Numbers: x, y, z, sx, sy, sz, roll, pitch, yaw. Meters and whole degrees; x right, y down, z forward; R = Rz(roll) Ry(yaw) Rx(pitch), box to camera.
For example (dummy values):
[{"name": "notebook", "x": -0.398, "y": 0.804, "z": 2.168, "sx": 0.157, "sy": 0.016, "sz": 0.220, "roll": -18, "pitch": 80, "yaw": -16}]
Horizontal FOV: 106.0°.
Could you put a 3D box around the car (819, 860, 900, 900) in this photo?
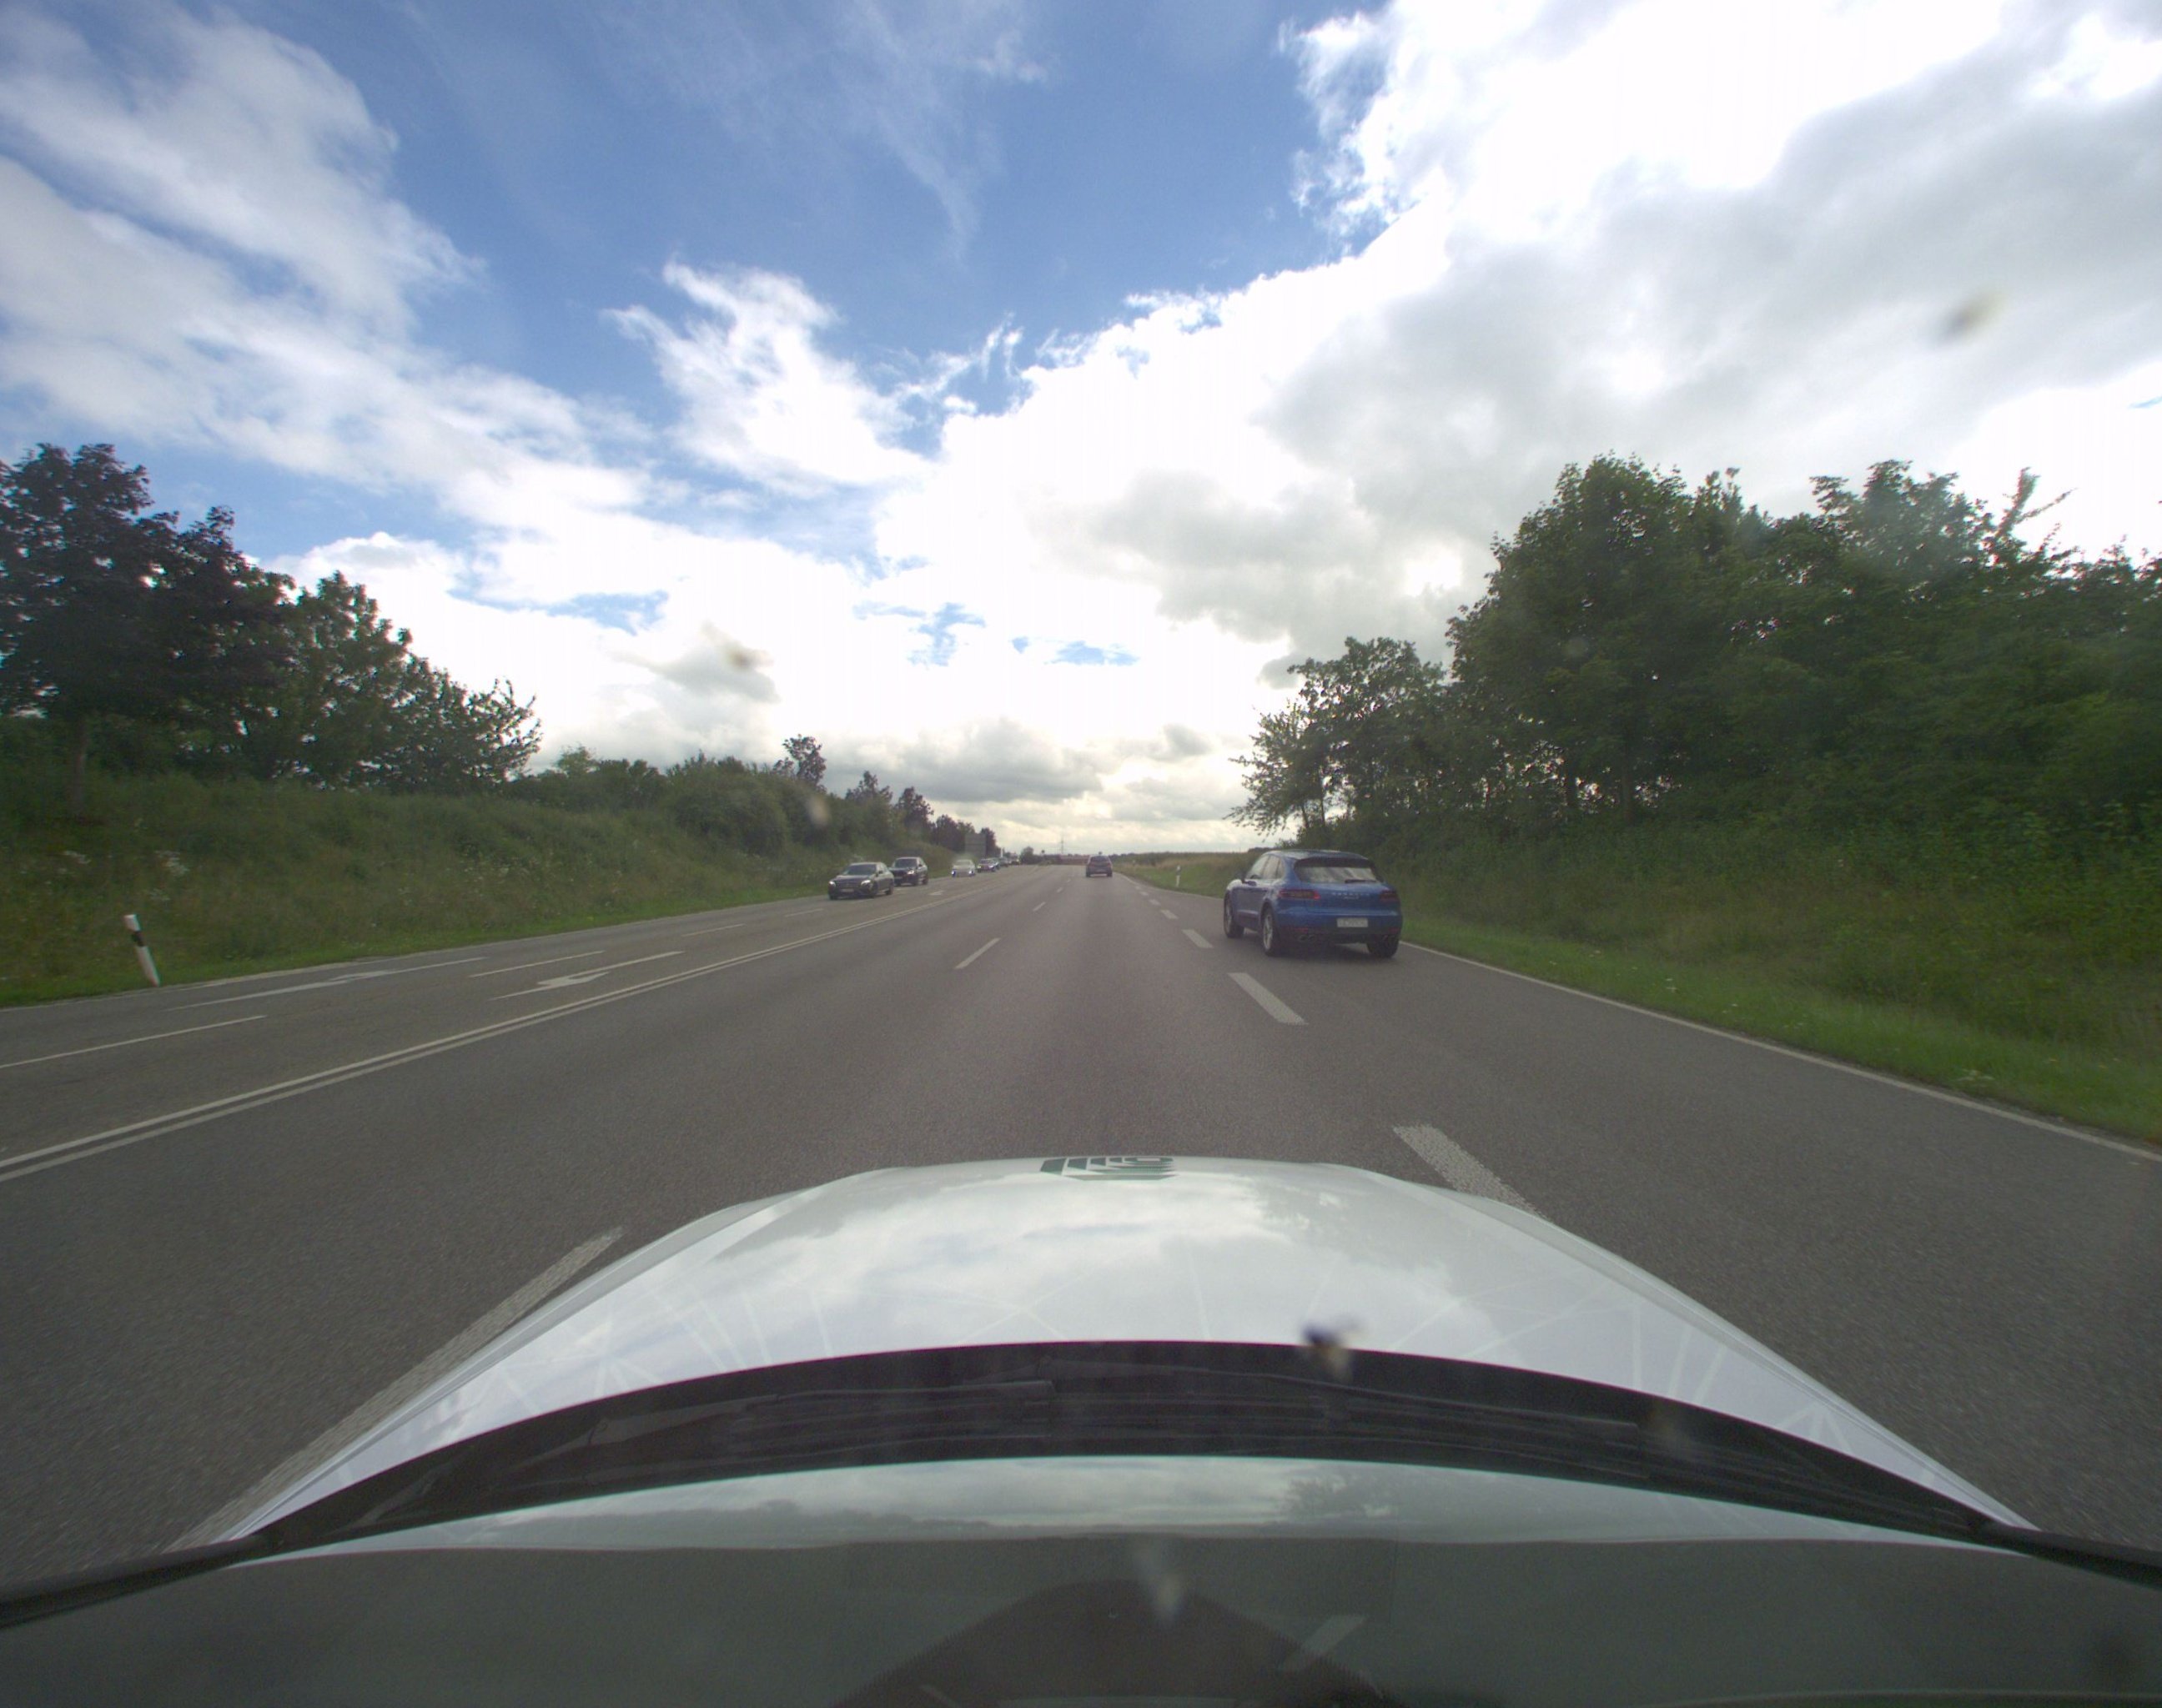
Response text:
[{"name": "car", "x": -9.413, "y": 1.061, "z": 35.036, "sx": 1.986, "sy": 1.494, "sz": 4.994, "roll": -1, "pitch": 0, "yaw": 1}]

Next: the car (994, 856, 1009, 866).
[{"name": "car", "x": -12.588, "y": 1.089, "z": 128.404, "sx": 1.988, "sy": 1.508, "sz": 3.998, "roll": -1, "pitch": 0, "yaw": -1}]

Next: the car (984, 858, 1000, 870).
[{"name": "car", "x": -11.601, "y": 1.269, "z": 106.779, "sx": 1.792, "sy": 1.486, "sz": 4.164, "roll": -1, "pitch": 0, "yaw": -3}]

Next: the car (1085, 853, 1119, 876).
[{"name": "car", "x": 1.373, "y": 0.695, "z": 55.786, "sx": 1.989, "sy": 1.535, "sz": 3.995, "roll": 0, "pitch": 0, "yaw": -4}]

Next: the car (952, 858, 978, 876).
[{"name": "car", "x": -10.110, "y": 1.109, "z": 71.117, "sx": 1.663, "sy": 1.442, "sz": 4.145, "roll": -1, "pitch": 0, "yaw": 0}]

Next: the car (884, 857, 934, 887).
[{"name": "car", "x": -10.158, "y": 1.011, "z": 48.518, "sx": 1.988, "sy": 1.610, "sz": 4.990, "roll": -1, "pitch": 0, "yaw": -1}]

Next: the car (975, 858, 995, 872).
[{"name": "car", "x": -10.582, "y": 1.170, "z": 89.721, "sx": 1.990, "sy": 1.508, "sz": 3.994, "roll": -1, "pitch": 0, "yaw": -4}]

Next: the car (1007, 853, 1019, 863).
[{"name": "car", "x": -14.764, "y": 0.848, "z": 177.175, "sx": 2.357, "sy": 2.211, "sz": 5.917, "roll": -2, "pitch": 0, "yaw": -2}]

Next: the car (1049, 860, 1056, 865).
[{"name": "car", "x": -8.937, "y": 2.662, "z": 254.825, "sx": 1.987, "sy": 1.715, "sz": 4.000, "roll": -1, "pitch": 0, "yaw": 0}]

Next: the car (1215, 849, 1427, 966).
[{"name": "car", "x": 3.711, "y": 0.738, "z": 13.611, "sx": 1.988, "sy": 1.570, "sz": 4.753, "roll": -1, "pitch": 0, "yaw": -2}]
